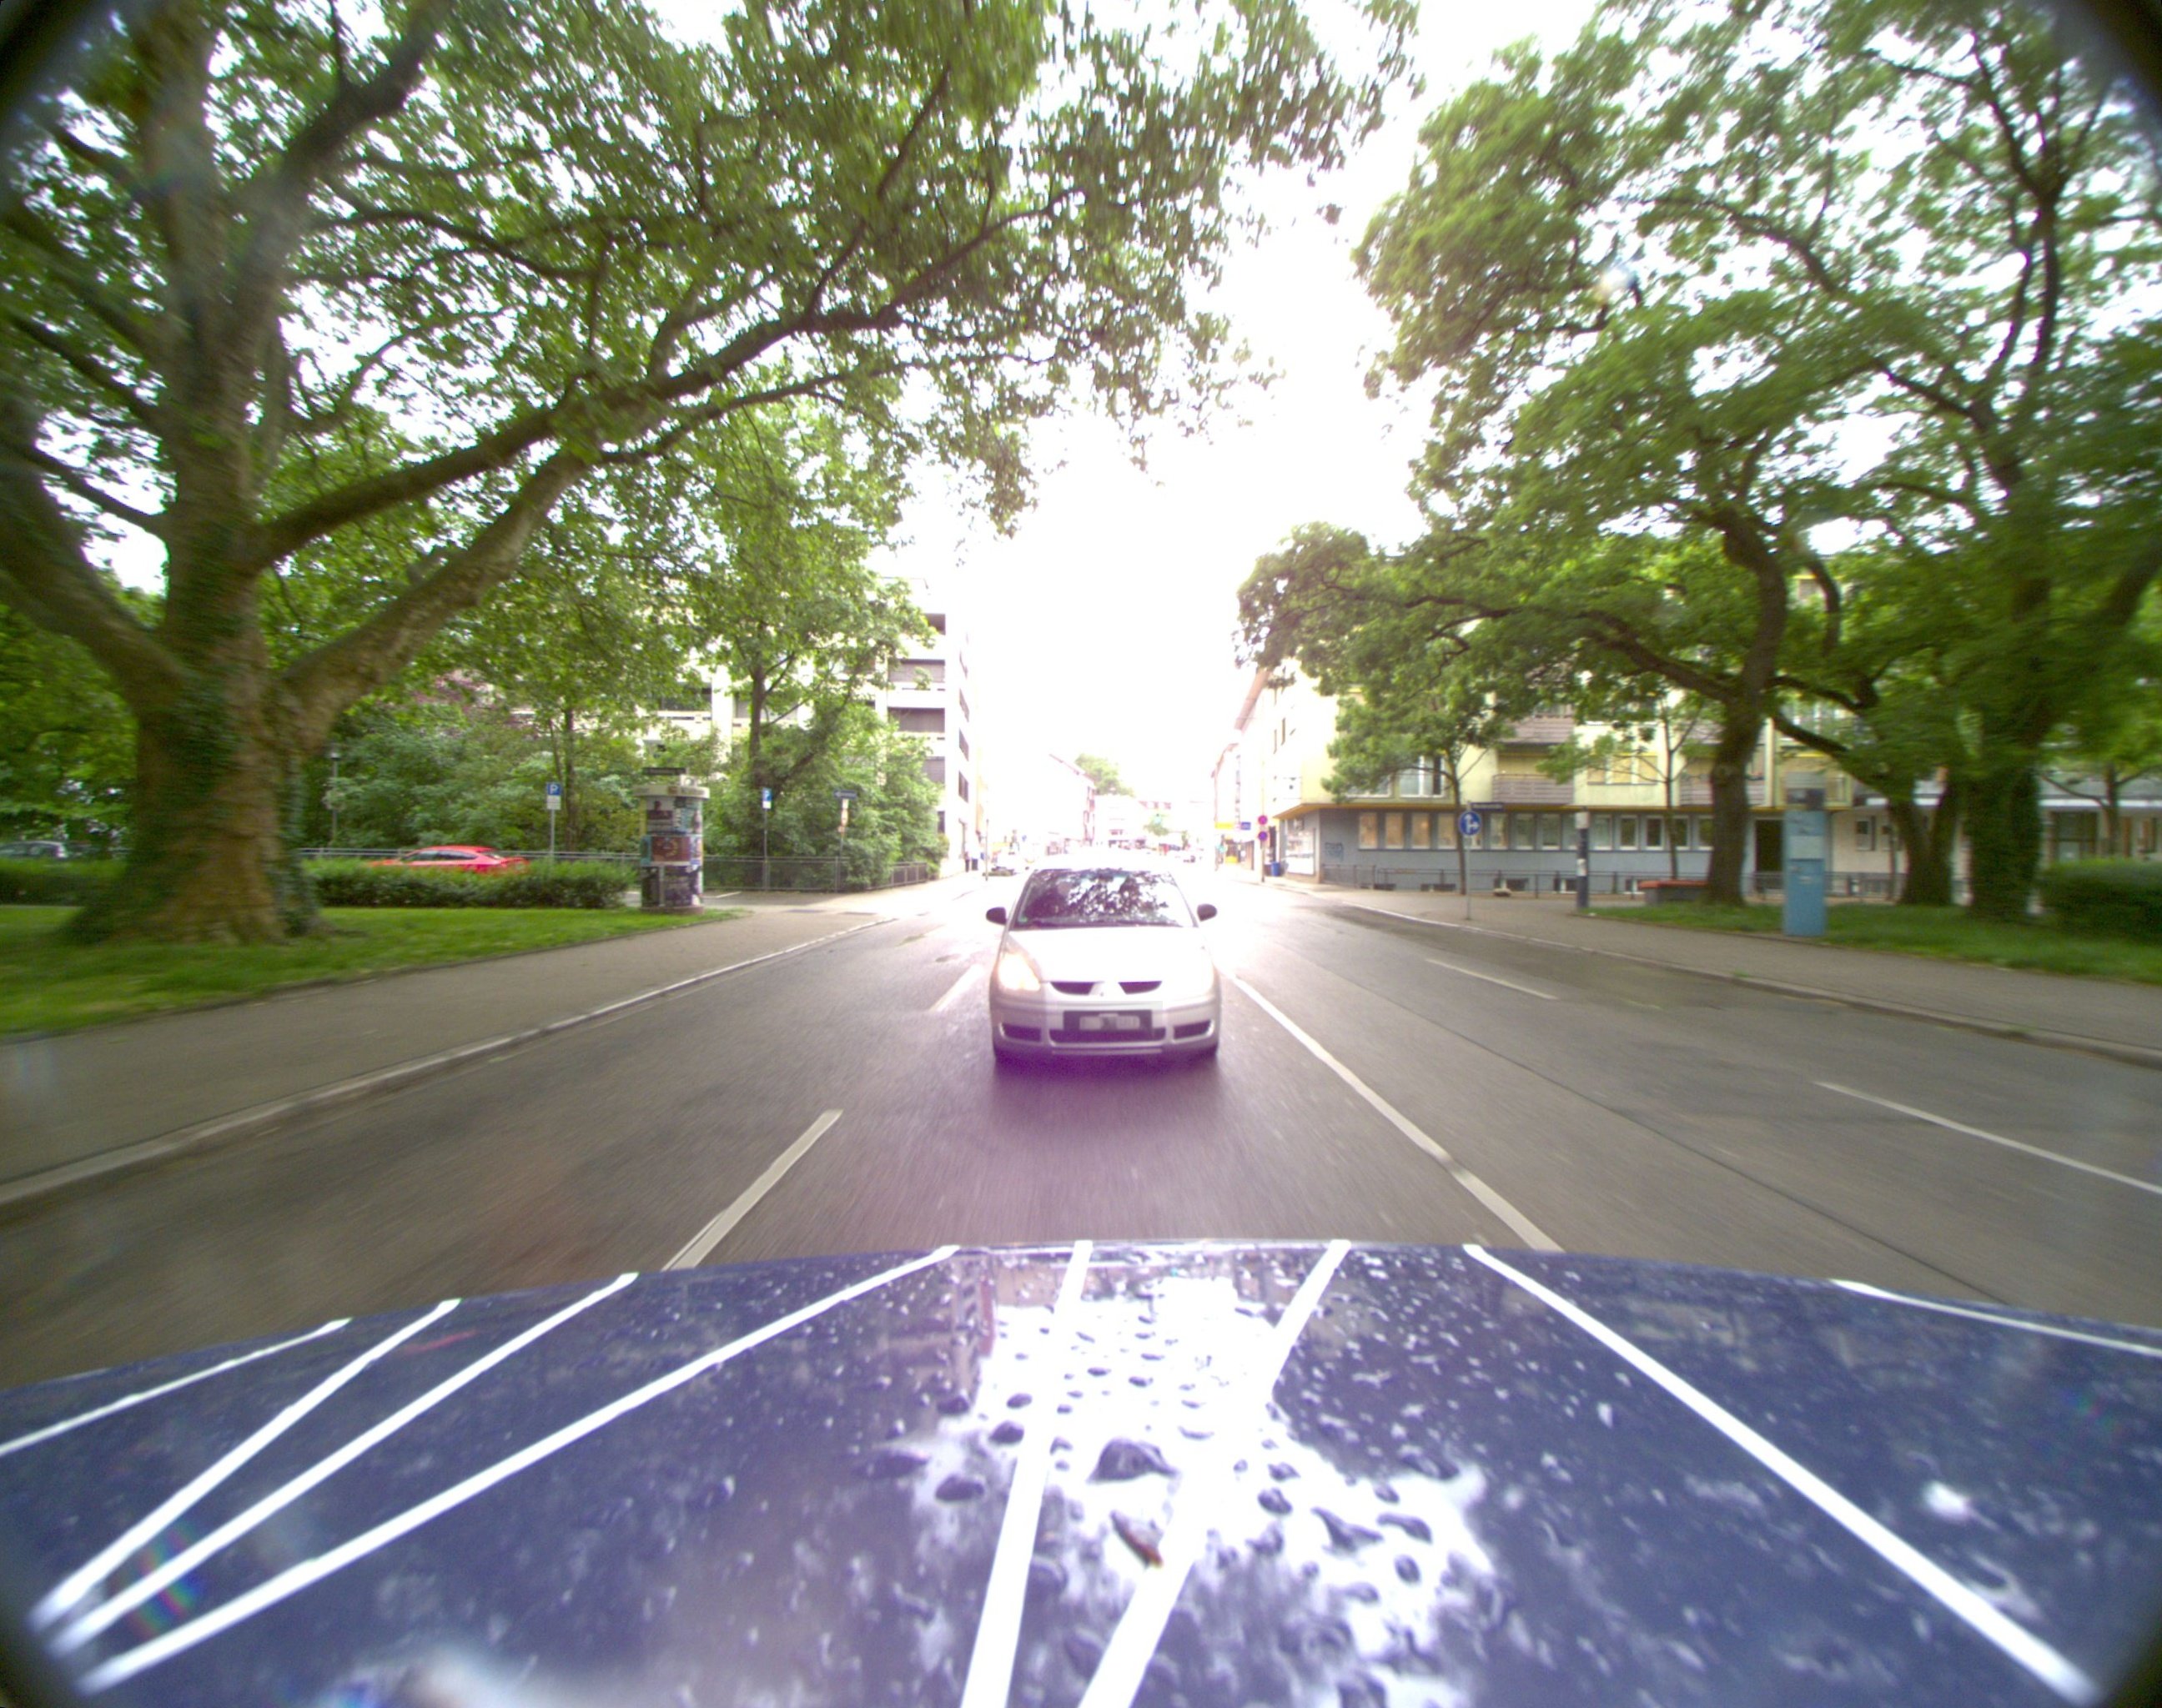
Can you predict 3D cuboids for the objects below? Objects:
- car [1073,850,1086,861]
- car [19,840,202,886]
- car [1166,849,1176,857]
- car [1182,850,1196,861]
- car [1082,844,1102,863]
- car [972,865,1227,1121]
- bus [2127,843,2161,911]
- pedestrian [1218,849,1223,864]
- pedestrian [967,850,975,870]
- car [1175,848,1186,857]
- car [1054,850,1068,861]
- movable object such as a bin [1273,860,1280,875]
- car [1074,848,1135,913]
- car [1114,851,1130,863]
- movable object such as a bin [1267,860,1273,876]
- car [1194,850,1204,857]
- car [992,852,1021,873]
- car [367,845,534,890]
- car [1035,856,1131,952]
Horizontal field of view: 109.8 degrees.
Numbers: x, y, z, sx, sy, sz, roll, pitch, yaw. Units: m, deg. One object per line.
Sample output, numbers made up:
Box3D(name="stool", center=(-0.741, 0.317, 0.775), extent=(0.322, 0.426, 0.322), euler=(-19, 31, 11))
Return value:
Box3D(name="car", center=(-0.186, 0.194, 110.896), extent=(1.802, 1.433, 3.897), euler=(1, 0, 1))
Box3D(name="car", center=(-29.406, 0.261, 23.104), extent=(3.468, 1.271, 1.448), euler=(1, 1, -5))
Box3D(name="car", center=(19.399, -0.191, 164.322), extent=(1.998, 1.631, 4.001), euler=(1, 0, 4))
Box3D(name="car", center=(17.542, 0.227, 123.307), extent=(1.889, 1.707, 4.001), euler=(1, 0, 4))
Box3D(name="car", center=(1.149, -0.107, 78.871), extent=(1.935, 1.817, 3.999), euler=(-2, 1, 0))
Box3D(name="car", center=(0.140, 0.902, 6.403), extent=(1.576, 1.514, 3.240), euler=(-1, 1, 1))
Box3D(name="bus", center=(32.527, 0.679, 21.818), extent=(3.730, 1.913, 1.711), euler=(1, 1, -16))
Box3D(name="pedestrian", center=(17.540, 0.288, 95.431), extent=(0.594, 1.833, 0.565), euler=(1, 1, 8))
Box3D(name="pedestrian", center=(-8.181, 0.441, 56.587), extent=(0.480, 1.521, 0.481), euler=(-2, 1, 1))
Box3D(name="car", center=(22.189, -0.288, 169.425), extent=(1.998, 1.841, 4.001), euler=(1, 0, 4))
Box3D(name="car", center=(-2.753, 0.240, 105.647), extent=(1.802, 1.433, 3.896), euler=(1, 0, 0))
Box3D(name="movable object such as a bin", center=(12.979, 0.884, 50.422), extent=(0.415, 1.023, 0.353), euler=(1, 1, 8))
Box3D(name="car", center=(0.616, 0.702, 22.007), extent=(1.584, 1.705, 3.648), euler=(1, 0, 0))
Box3D(name="car", center=(4.848, 0.328, 90.819), extent=(1.701, 1.433, 3.897), euler=(1, 0, 1))
Box3D(name="movable object such as a bin", center=(12.557, 0.915, 50.476), extent=(0.338, 1.023, 0.353), euler=(1, 1, 8))
Box3D(name="car", center=(26.012, -0.128, 167.641), extent=(1.867, 1.648, 4.001), euler=(1, 0, 4))
Box3D(name="car", center=(-5.402, 0.602, 55.493), extent=(1.681, 1.424, 3.681), euler=(4, 0, 1))
Box3D(name="car", center=(-19.467, 0.392, 23.584), extent=(3.790, 1.271, 1.576), euler=(1, 1, -3))
Box3D(name="car", center=(0.106, 0.846, 14.574), extent=(1.590, 1.540, 3.771), euler=(1, 0, 2))
